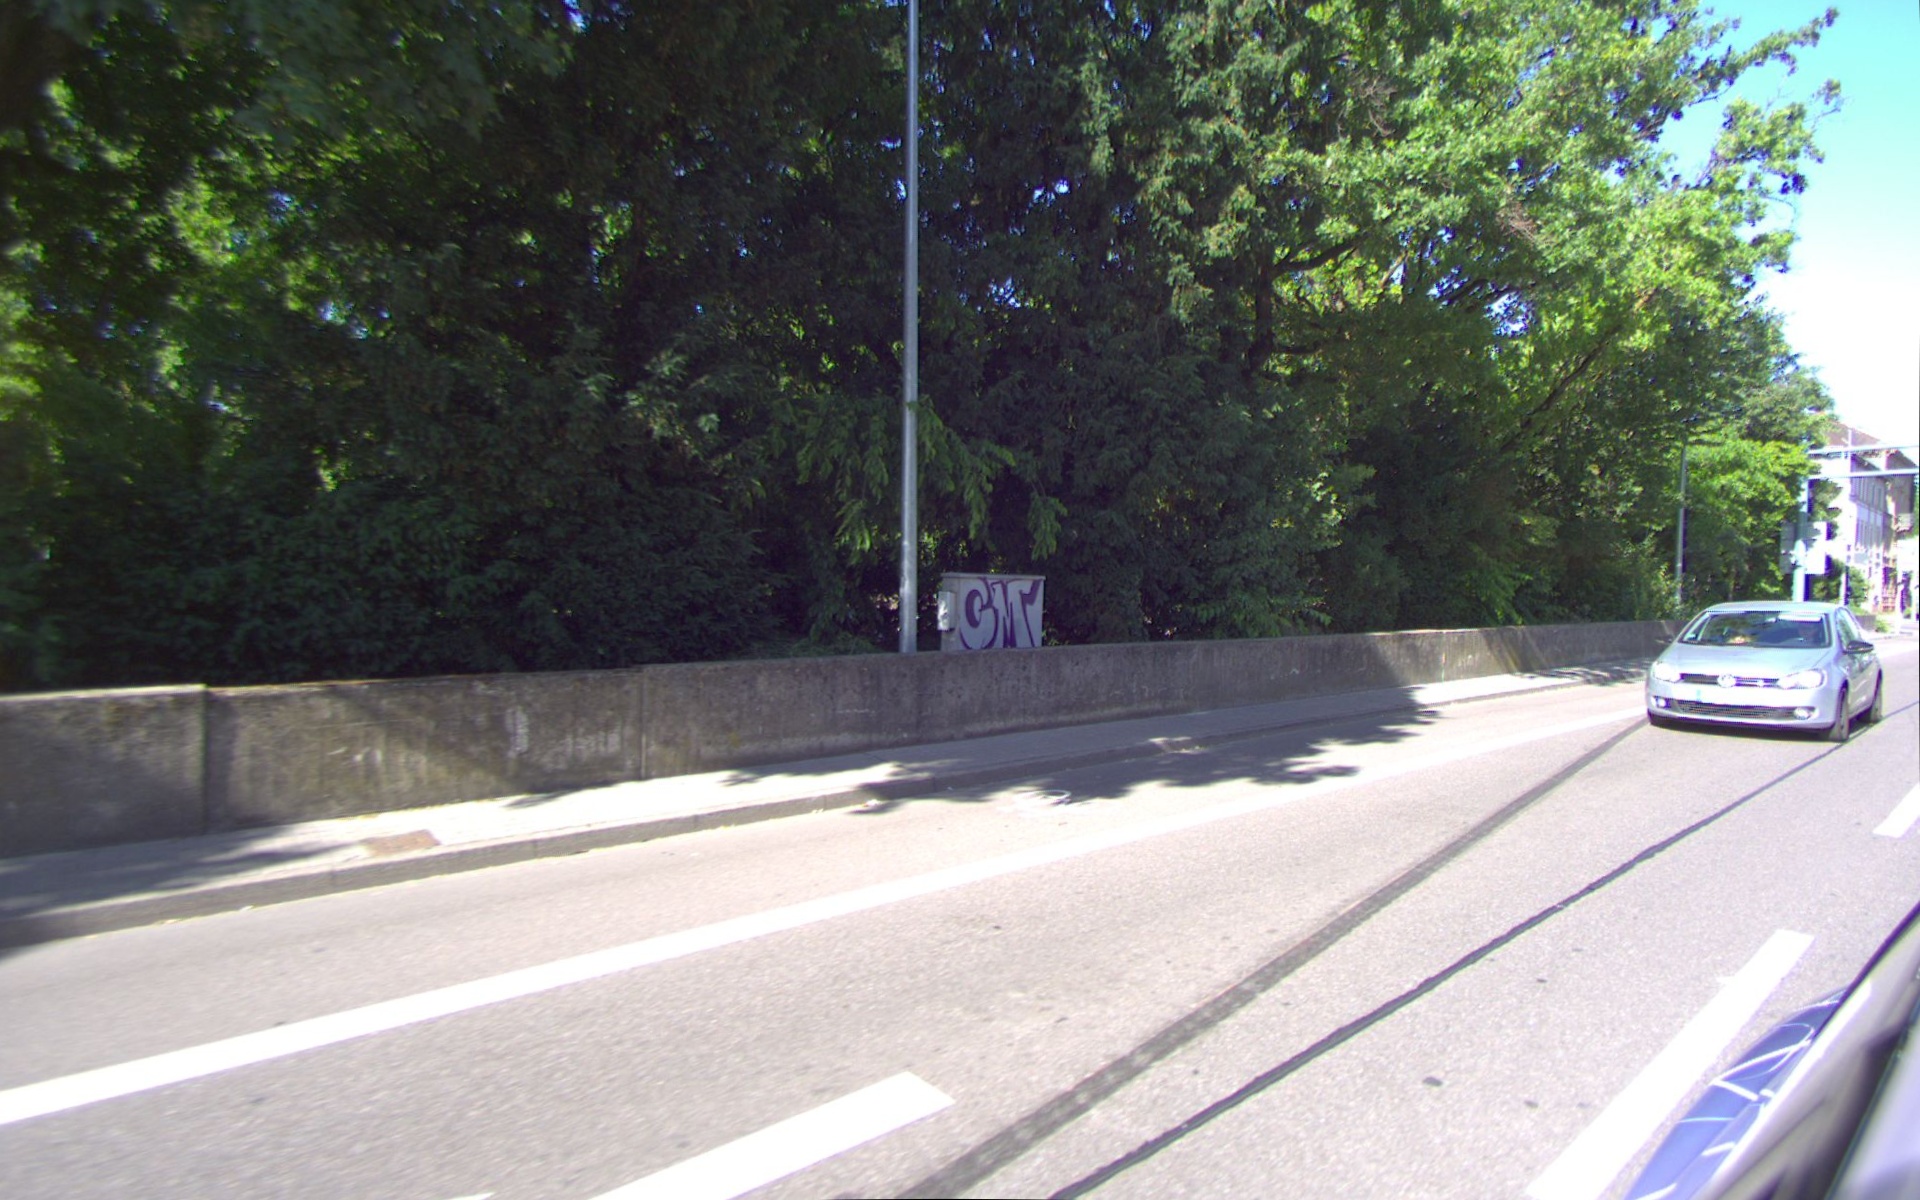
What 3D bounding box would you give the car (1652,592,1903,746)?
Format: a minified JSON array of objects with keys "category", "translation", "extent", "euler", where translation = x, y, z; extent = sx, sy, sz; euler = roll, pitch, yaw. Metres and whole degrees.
[{"category":"car","translation":[9.731,0.667,11.946],"extent":[3.931,1.493,1.701],"euler":[0,1,-42]}]
